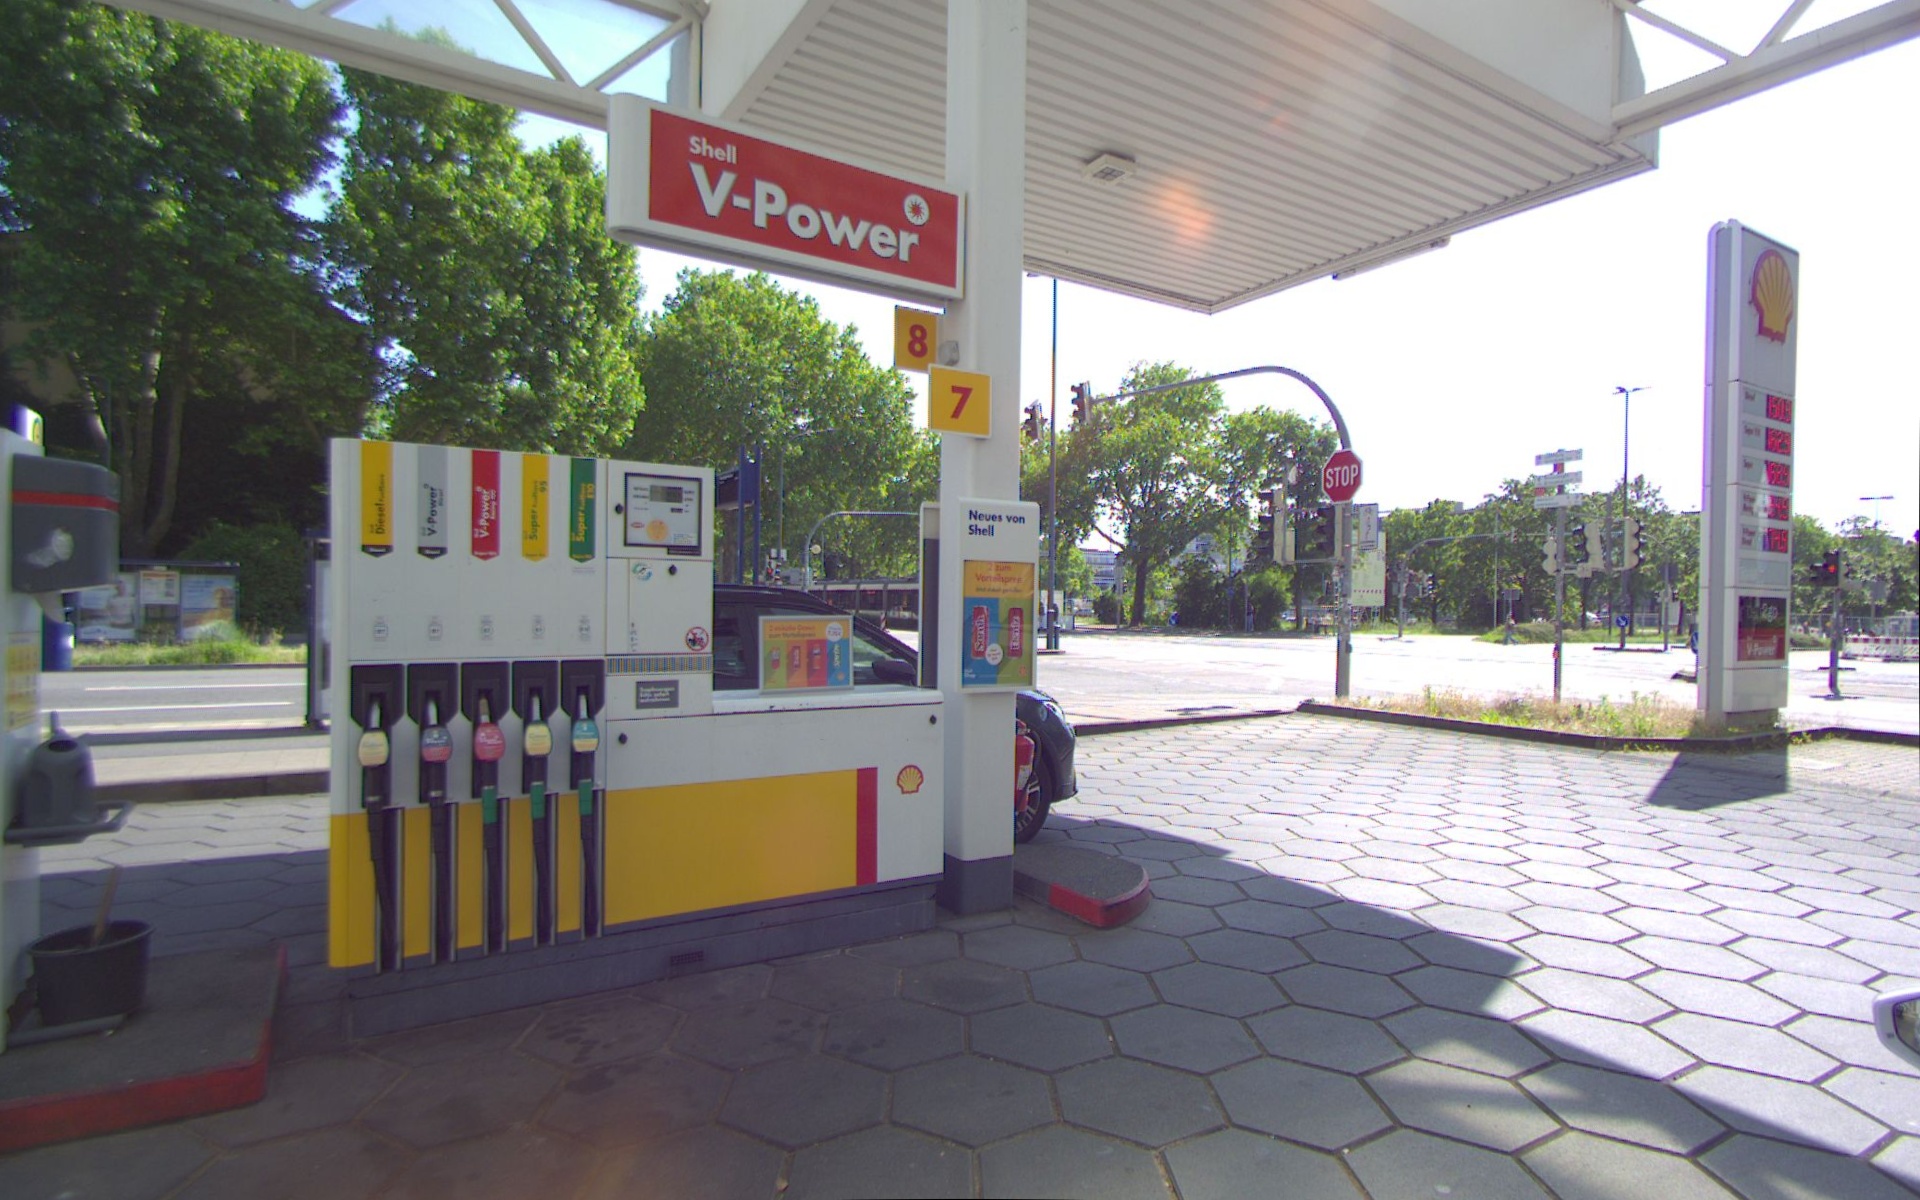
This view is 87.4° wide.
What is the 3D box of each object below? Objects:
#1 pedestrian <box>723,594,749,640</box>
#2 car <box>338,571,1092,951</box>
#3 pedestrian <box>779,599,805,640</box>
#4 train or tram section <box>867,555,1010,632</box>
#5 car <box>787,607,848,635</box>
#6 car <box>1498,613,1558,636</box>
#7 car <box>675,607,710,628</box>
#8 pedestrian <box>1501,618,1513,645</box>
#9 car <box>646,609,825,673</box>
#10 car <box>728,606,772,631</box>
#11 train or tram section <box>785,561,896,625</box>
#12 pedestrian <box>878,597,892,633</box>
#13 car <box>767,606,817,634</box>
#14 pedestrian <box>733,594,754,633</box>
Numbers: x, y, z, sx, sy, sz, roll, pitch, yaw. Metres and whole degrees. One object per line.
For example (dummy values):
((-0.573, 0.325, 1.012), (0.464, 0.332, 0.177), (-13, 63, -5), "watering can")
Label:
((-9.256, 0.703, 41.509), (0.759, 1.881, 0.723), (-1, -2, 30), "pedestrian")
((-1.309, 0.722, 5.917), (3.956, 1.552, 1.734), (2, -2, -32), "car")
((-7.420, 0.870, 44.336), (0.678, 1.746, 0.865), (-1, -2, 44), "pedestrian")
((-1.822, -0.376, 66.465), (2.302, 4.549, 14.816), (1, -1, -31), "train or tram section")
((-8.325, 1.261, 58.477), (1.852, 1.532, 3.958), (2, -3, -37), "car")
((46.978, 2.025, 83.163), (1.974, 1.839, 3.973), (1, -2, -27), "car")
((-22.207, 1.483, 83.276), (1.847, 1.711, 3.969), (2, -2, -30), "car")
((31.181, 1.779, 57.258), (0.555, 1.488, 0.512), (1, 0, 34), "pedestrian")
((-5.469, 0.984, 24.629), (3.958, 1.385, 1.670), (1, 2, -32), "car")
((-14.766, 1.328, 70.503), (1.847, 1.711, 3.969), (2, -2, -30), "car")
((-9.770, -0.530, 79.586), (2.302, 4.549, 15.789), (1, -1, -31), "train or tram section")
((-4.237, 0.869, 56.819), (0.691, 2.013, 0.741), (0, -2, -1), "pedestrian")
((-10.754, 1.295, 64.069), (1.847, 1.711, 3.969), (2, -2, -30), "car")
((-9.537, 0.587, 44.272), (0.777, 1.696, 0.556), (2, -2, -32), "pedestrian")
